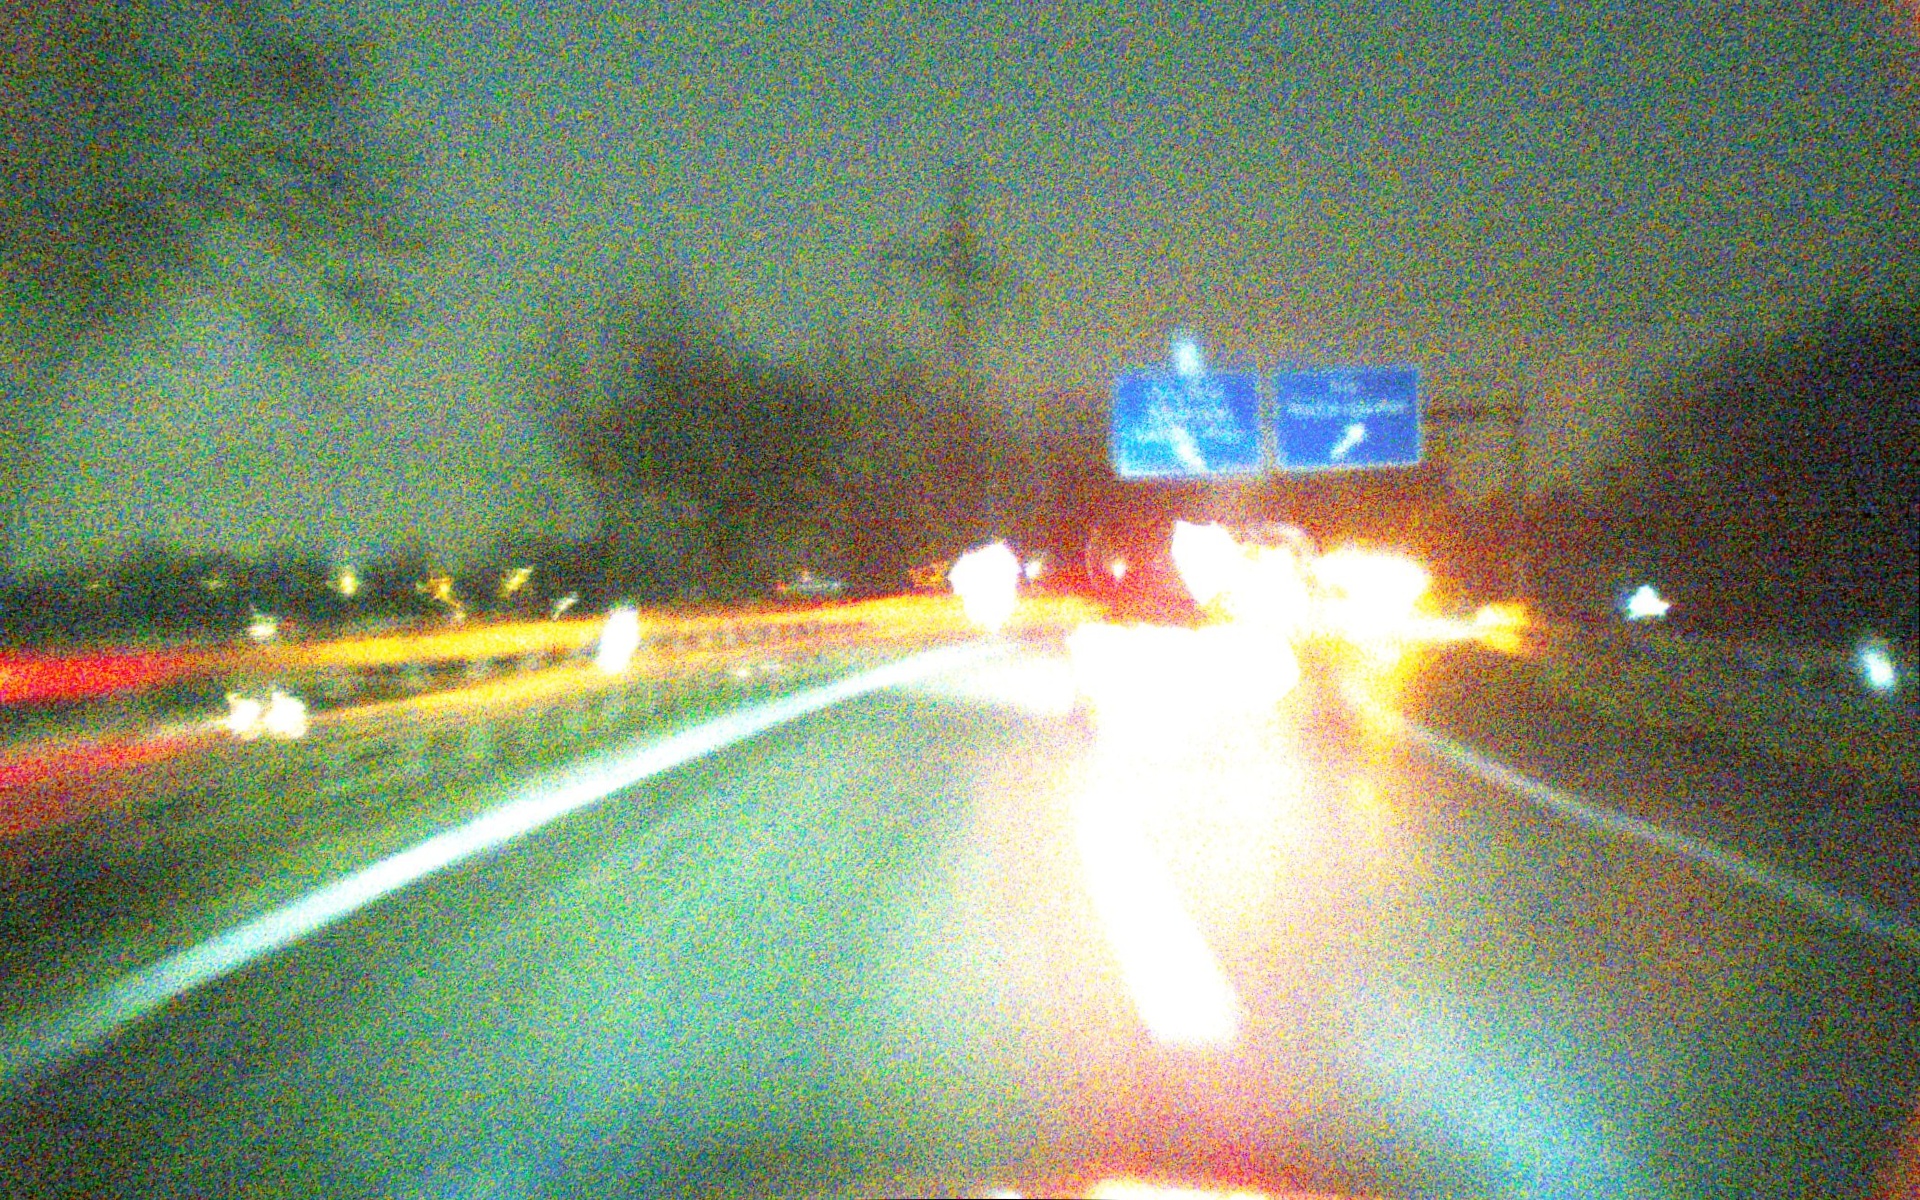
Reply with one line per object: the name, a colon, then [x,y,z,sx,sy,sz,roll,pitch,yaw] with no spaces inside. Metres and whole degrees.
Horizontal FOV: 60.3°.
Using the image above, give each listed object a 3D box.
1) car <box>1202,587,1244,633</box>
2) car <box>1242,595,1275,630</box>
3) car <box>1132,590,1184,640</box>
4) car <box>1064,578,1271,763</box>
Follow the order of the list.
car: [12.138,0.470,76.188,1.855,2.076,4.049,0,-1,10]
car: [17.584,0.759,97.614,1.855,2.033,4.049,0,0,9]
car: [7.333,0.556,61.039,1.855,1.751,4.048,0,-1,8]
car: [2.080,0.660,17.618,1.822,1.676,4.070,2,0,3]
